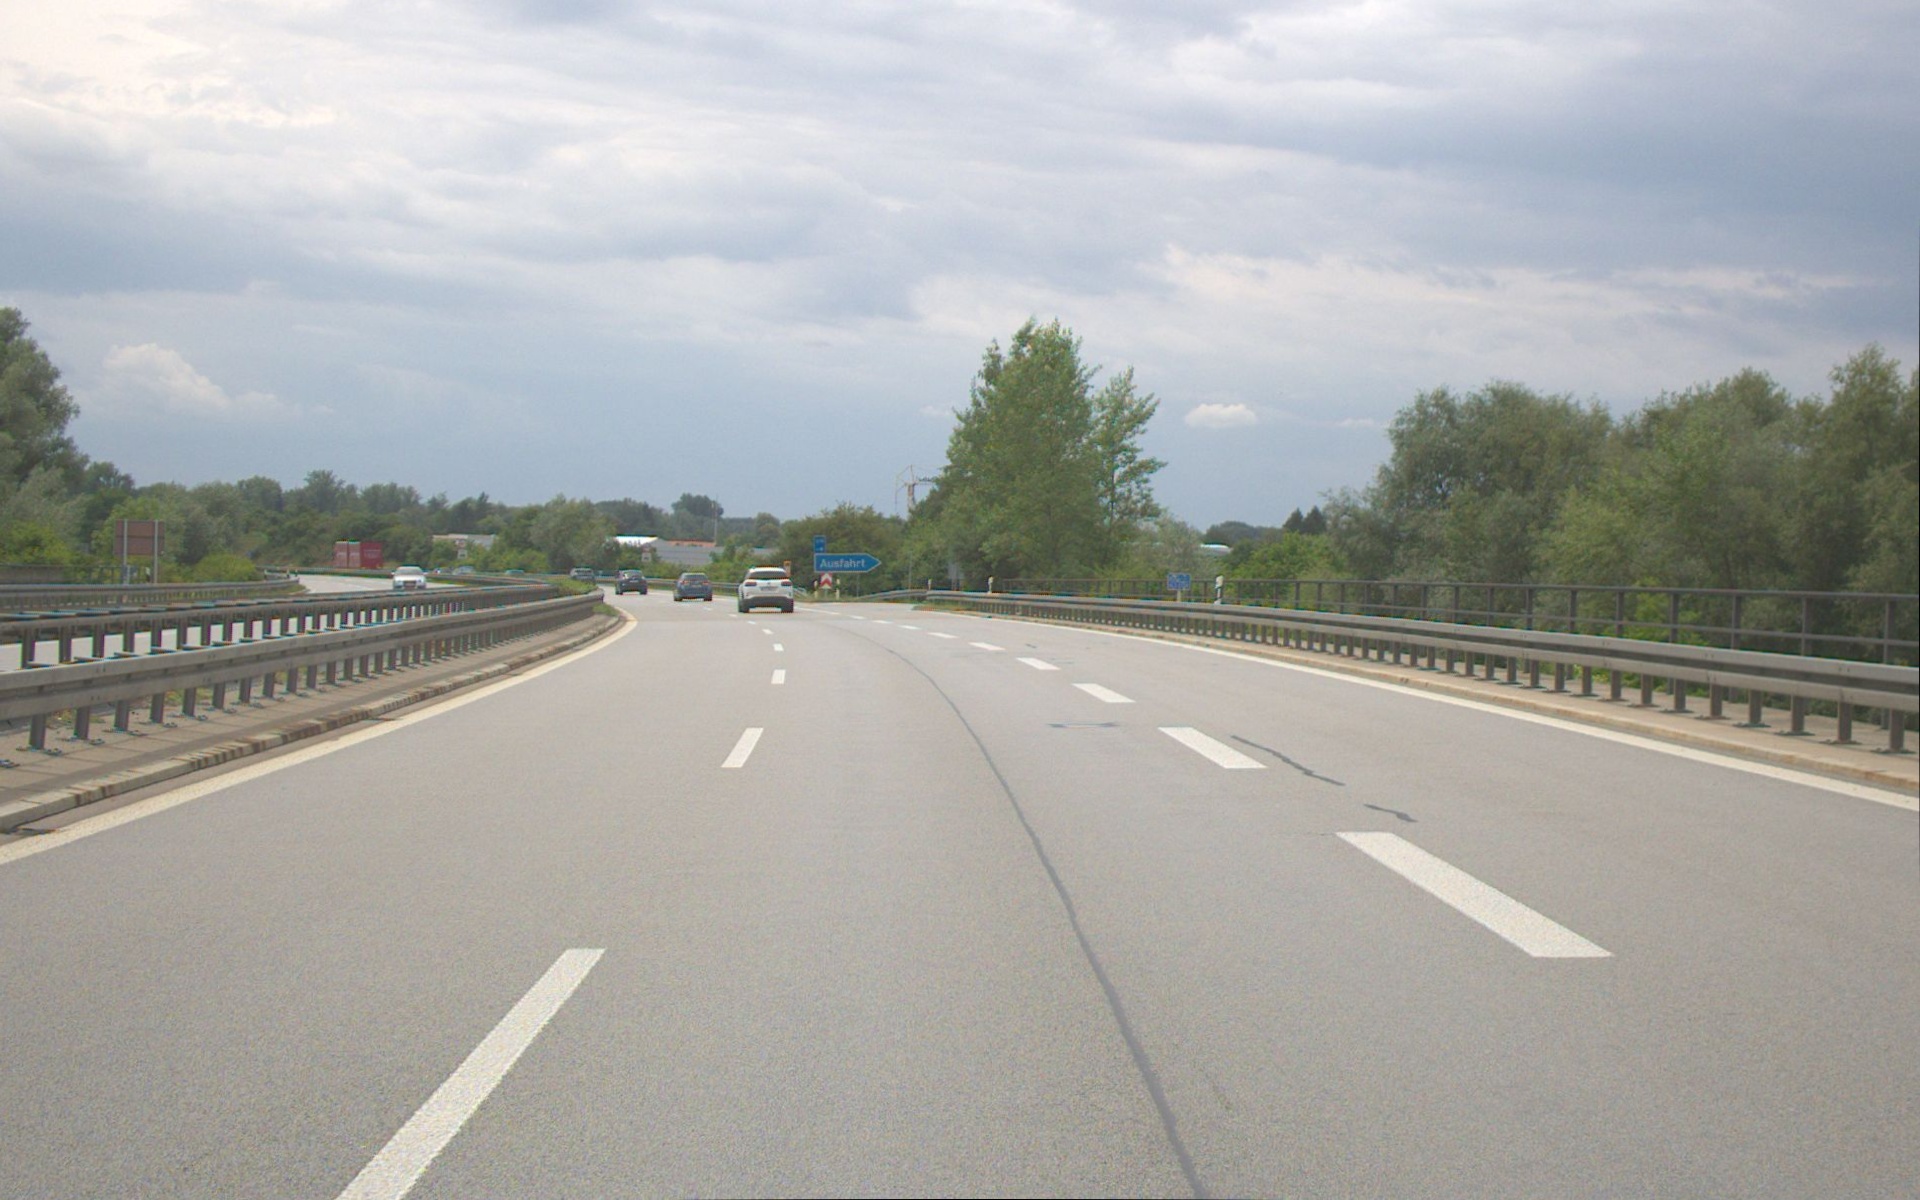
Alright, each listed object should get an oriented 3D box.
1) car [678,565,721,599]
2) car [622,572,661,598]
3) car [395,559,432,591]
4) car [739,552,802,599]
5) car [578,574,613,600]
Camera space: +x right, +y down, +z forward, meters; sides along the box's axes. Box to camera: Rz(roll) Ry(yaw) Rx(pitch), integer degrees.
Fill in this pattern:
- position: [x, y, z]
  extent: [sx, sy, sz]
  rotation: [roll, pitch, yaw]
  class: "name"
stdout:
- position: [-13.318, -0.942, 175.634]
  extent: [1.892, 1.634, 4.623]
  rotation: [1, 1, -8]
  class: "car"
- position: [-20.190, -0.959, 217.748]
  extent: [1.902, 1.634, 4.781]
  rotation: [1, 0, -11]
  class: "car"
- position: [-30.141, -1.398, 189.705]
  extent: [1.642, 1.709, 4.982]
  rotation: [1, 0, -5]
  class: "car"
- position: [-6.928, -0.898, 125.390]
  extent: [1.902, 1.634, 4.397]
  rotation: [1, 1, -8]
  class: "car"
- position: [-26.755, -0.957, 252.052]
  extent: [1.826, 1.788, 4.415]
  rotation: [1, 1, -15]
  class: "car"
